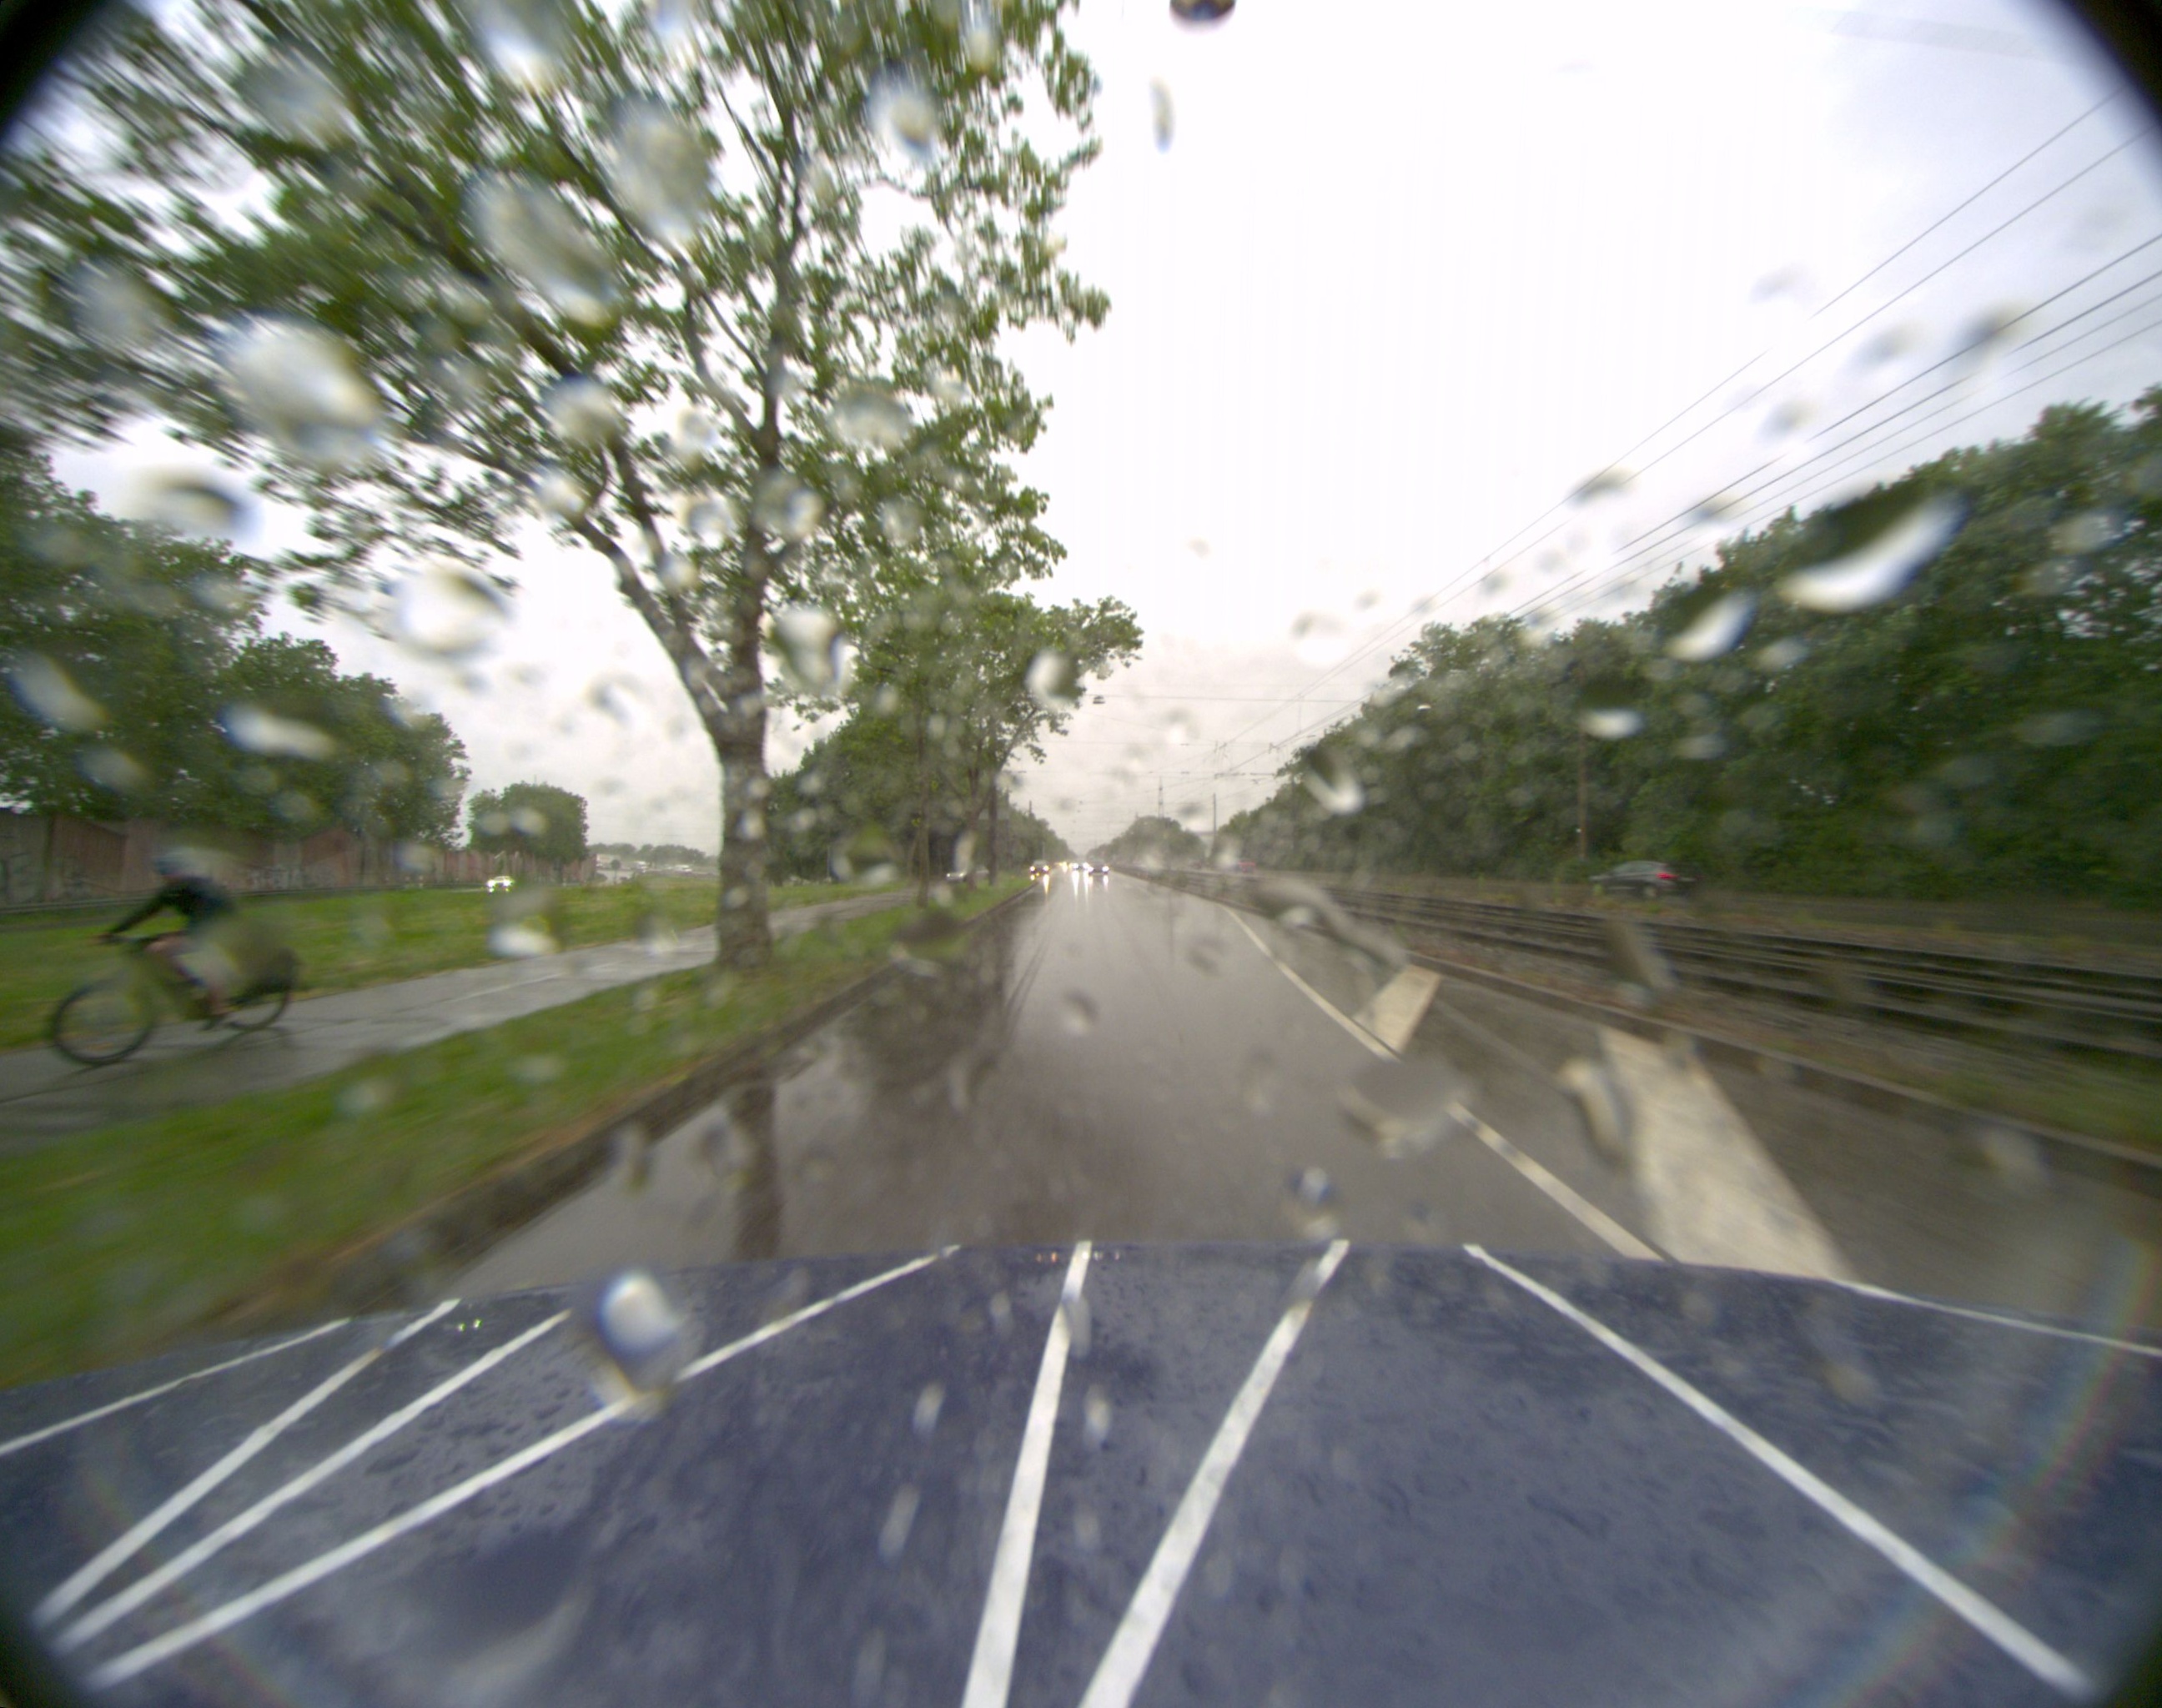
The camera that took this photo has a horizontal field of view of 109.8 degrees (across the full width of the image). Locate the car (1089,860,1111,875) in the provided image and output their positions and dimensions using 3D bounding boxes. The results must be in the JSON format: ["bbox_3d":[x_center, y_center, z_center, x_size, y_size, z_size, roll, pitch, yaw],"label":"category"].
[{"bbox_3d":[1.831,1.275,74.524,1.971,1.412,3.999,0,0,-1],"label":"car"}]

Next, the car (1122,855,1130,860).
[{"bbox_3d":[13.427,1.047,227.001,1.999,1.662,4.871,-1,0,-2],"label":"car"}]

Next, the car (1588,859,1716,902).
[{"bbox_3d":[20.920,0.916,28.048,1.687,1.398,3.938,-1,0,-2],"label":"car"}]

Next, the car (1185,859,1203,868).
[{"bbox_3d":[16.090,1.328,108.256,1.776,1.322,4.379,-1,0,-2],"label":"car"}]

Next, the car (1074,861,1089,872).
[{"bbox_3d":[0.025,1.646,102.598,1.971,1.412,3.999,0,0,-1],"label":"car"}]

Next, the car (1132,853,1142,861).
[{"bbox_3d":[13.613,0.639,184.460,1.999,1.772,4.000,-5,0,-1],"label":"car"}]

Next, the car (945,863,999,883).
[{"bbox_3d":[-8.289,1.460,58.133,1.747,1.412,4.009,1,0,37],"label":"car"}]

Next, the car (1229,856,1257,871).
[{"bbox_3d":[16.708,0.941,78.454,1.695,1.514,4.954,-1,0,-2],"label":"car"}]
